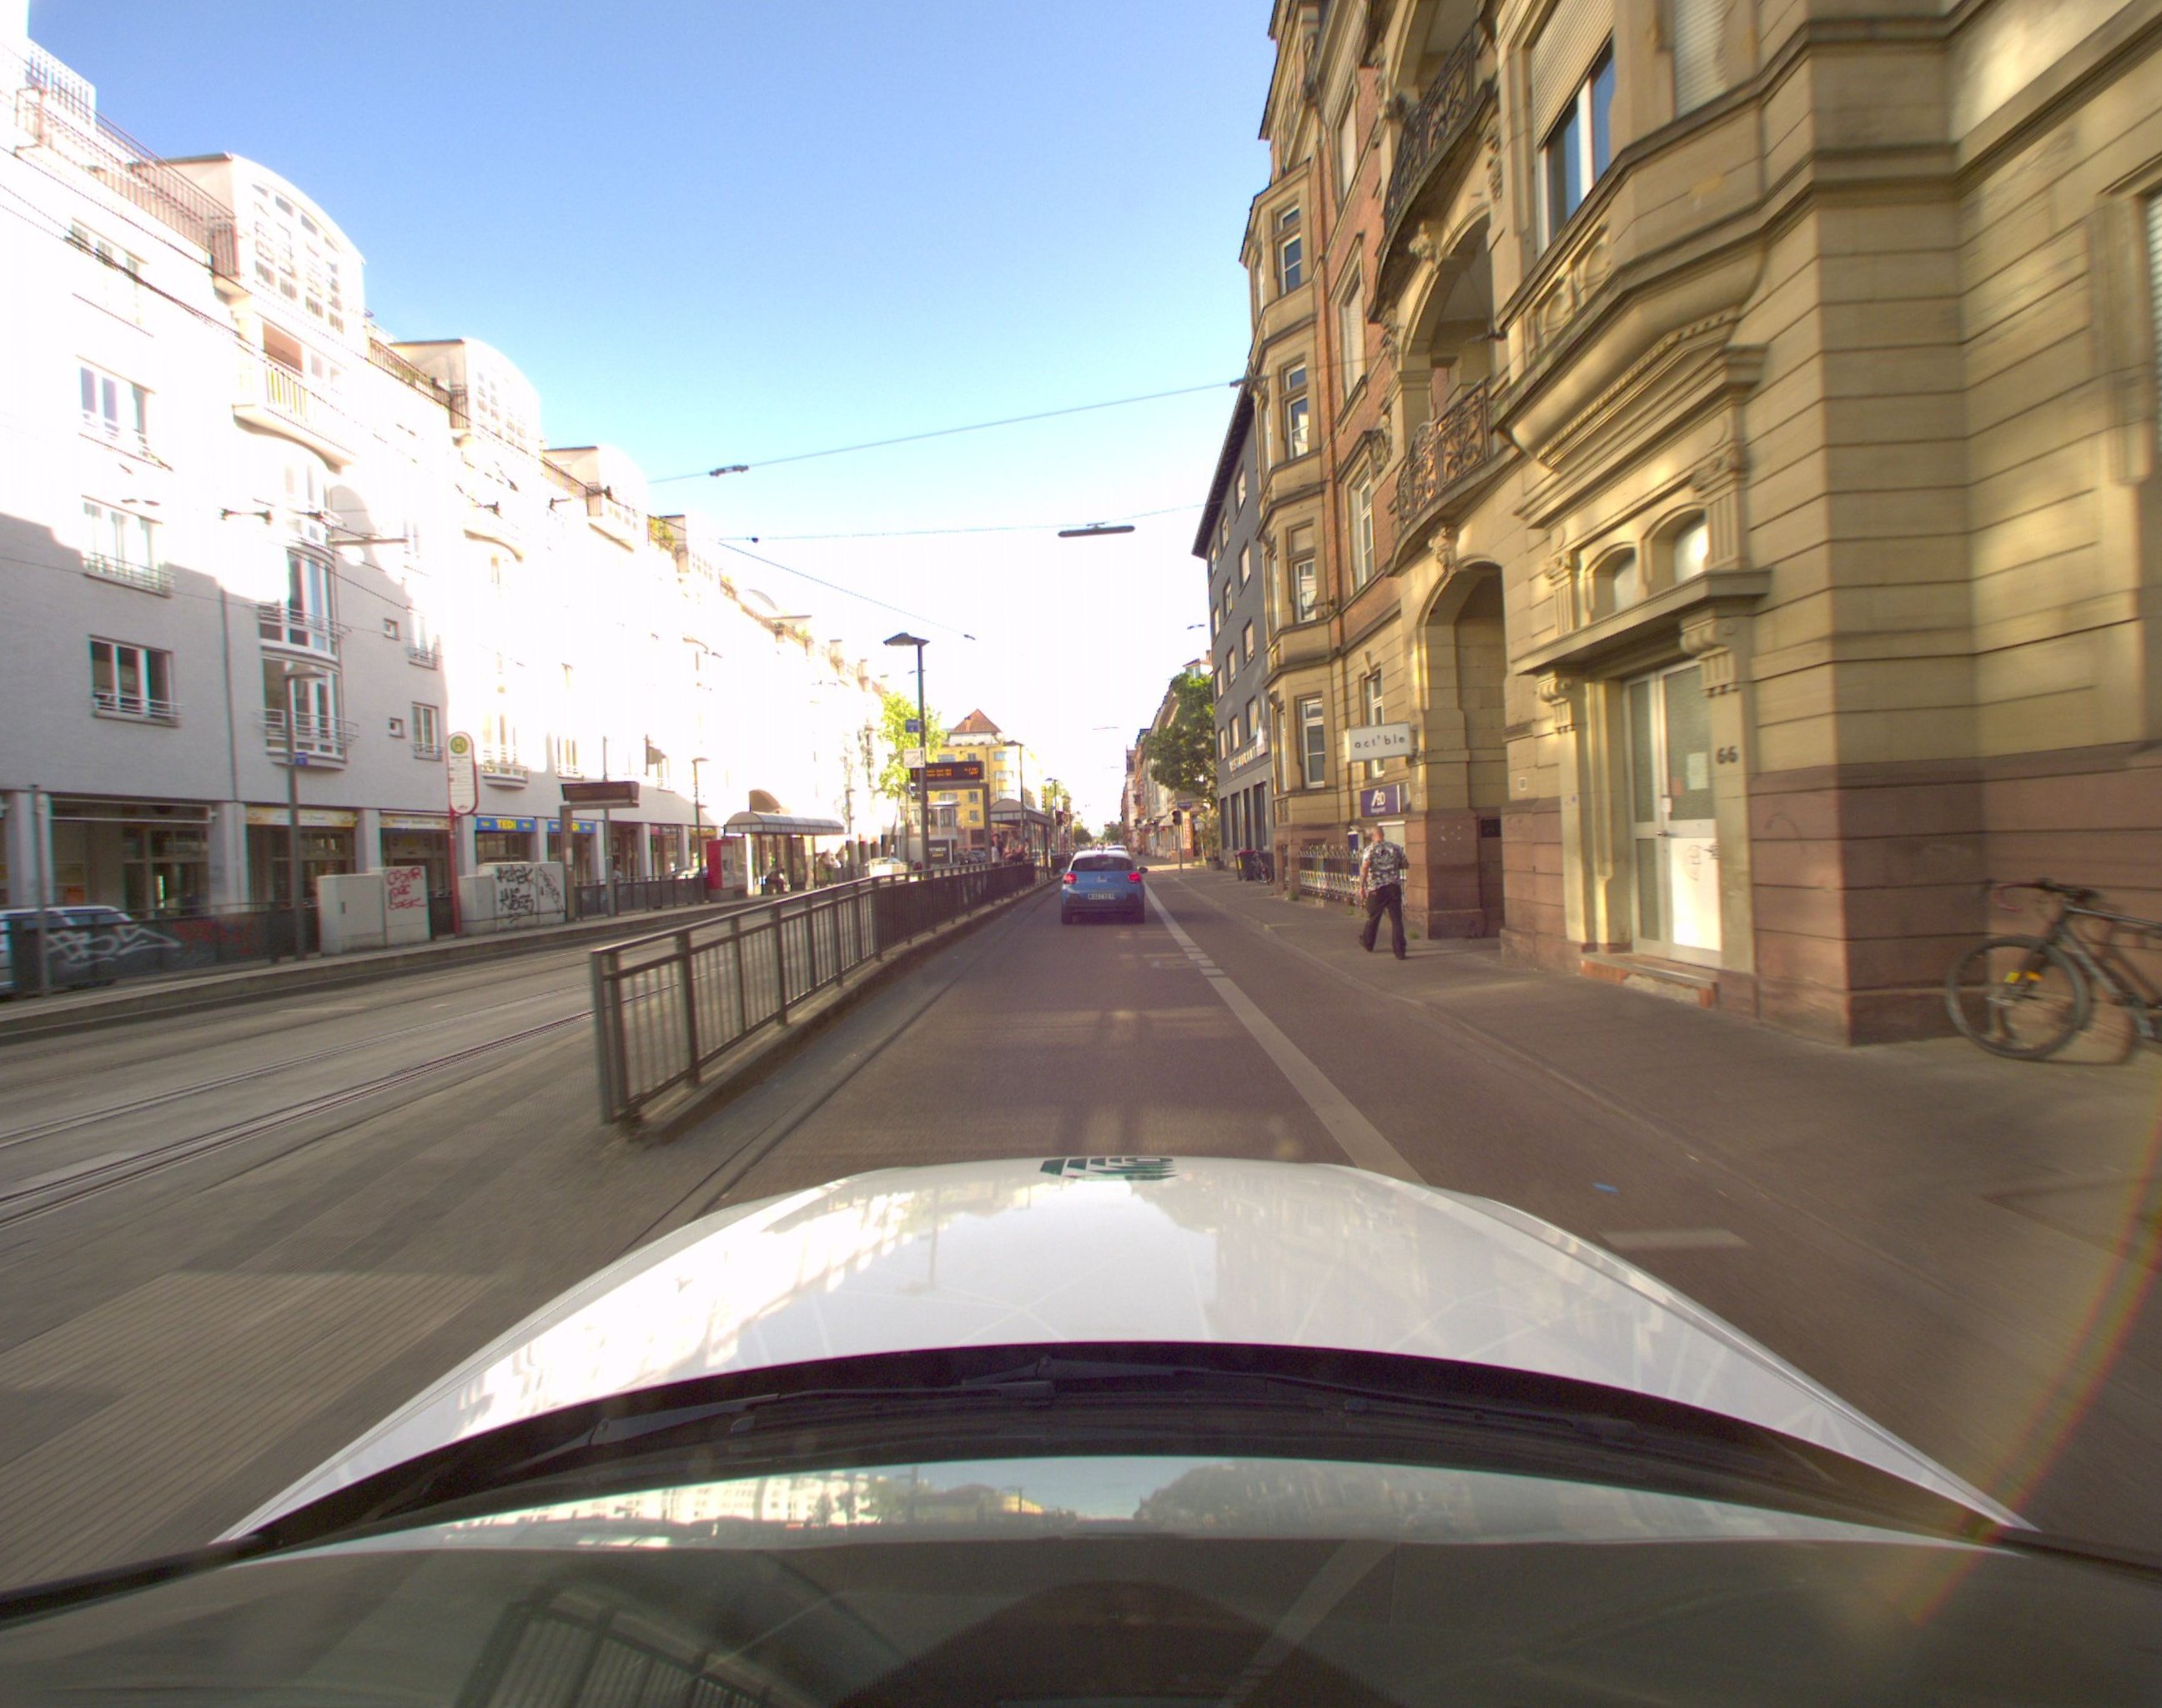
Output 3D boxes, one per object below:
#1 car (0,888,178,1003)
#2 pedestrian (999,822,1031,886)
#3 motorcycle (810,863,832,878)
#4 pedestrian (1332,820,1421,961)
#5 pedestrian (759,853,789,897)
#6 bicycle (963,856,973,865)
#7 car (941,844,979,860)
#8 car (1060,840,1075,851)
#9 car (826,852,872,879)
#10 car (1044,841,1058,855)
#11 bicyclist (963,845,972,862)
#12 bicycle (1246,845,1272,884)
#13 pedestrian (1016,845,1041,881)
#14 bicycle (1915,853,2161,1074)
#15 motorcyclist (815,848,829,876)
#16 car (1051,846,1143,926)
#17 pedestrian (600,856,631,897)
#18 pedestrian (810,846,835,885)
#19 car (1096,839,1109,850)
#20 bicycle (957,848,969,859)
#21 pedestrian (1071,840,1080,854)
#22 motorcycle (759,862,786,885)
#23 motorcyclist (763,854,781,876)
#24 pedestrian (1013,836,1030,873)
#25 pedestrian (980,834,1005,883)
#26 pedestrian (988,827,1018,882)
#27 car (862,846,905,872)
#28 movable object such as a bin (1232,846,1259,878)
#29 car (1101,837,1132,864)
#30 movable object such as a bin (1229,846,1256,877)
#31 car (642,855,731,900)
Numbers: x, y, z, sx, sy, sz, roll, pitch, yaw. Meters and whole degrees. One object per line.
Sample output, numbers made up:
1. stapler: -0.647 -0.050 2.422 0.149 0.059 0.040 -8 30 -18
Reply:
1. car: -16.789 1.454 12.084 1.722 1.514 4.406 -2 2 1
2. pedestrian: -1.769 -0.003 21.904 0.632 1.697 0.936 0 1 9
3. motorcycle: -14.287 0.907 44.805 0.491 0.720 2.008 0 1 3
4. pedestrian: 3.899 0.443 10.833 0.777 1.749 1.093 -2 3 -1
5. pedestrian: -11.162 0.765 29.593 0.729 1.527 0.743 -2 3 0
6. bicycle: -10.968 0.600 79.022 0.564 0.757 1.939 -2 2 3
7. car: -13.860 -0.205 93.590 3.976 1.674 1.957 -2 2 -2
8. car: -2.105 -1.307 126.247 1.942 1.485 4.006 -3 2 5
9. car: -14.649 0.714 51.658 1.684 1.420 3.649 -1 3 3
10. car: -4.093 -0.839 111.219 1.747 1.615 4.827 -4 2 0
11. bicyclist: -10.985 -0.047 78.998 0.669 1.557 0.778 -2 2 3
12. bicycle: 5.652 0.321 25.914 0.457 1.122 1.774 -3 2 2
13. pedestrian: -1.947 0.336 30.253 0.761 1.272 0.720 -2 2 4
14. bicycle: 5.373 0.535 4.261 0.254 1.052 1.770 0 1 2
15. motorcyclist: -14.290 0.430 44.877 0.485 1.502 0.723 0 1 3
16. car: 0.384 0.598 17.569 1.774 1.450 3.657 0 2 2
17. pedestrian: -19.542 0.936 34.192 0.840 1.621 0.597 -2 2 -3
18. pedestrian: -10.704 0.478 33.732 0.729 1.558 0.743 -2 3 0
19. car: 3.450 -1.519 131.558 1.986 1.742 4.002 0 1 2
20. bicycle: -12.385 -0.046 85.459 0.677 1.002 2.689 -2 2 3
21. pedestrian: -0.684 -0.838 96.811 0.842 1.653 0.691 -3 2 -26
22. motorcycle: -15.667 0.964 41.376 0.556 1.074 1.846 0 1 3
23. motorcyclist: -15.699 0.544 41.434 0.556 1.074 0.828 0 1 3
24. pedestrian: -2.539 0.018 34.798 0.619 1.558 0.568 -2 2 2
25. pedestrian: -2.895 0.150 26.555 0.579 1.561 0.473 -1 2 37
26. pedestrian: -2.603 0.008 27.127 0.710 1.777 0.569 -1 2 37
27. car: -12.656 0.319 52.429 1.684 1.420 3.649 -1 3 3
28. movable object such as a bin: 5.800 0.278 28.727 0.745 1.036 0.754 -5 2 2
29. car: 2.360 -0.258 54.118 1.986 1.742 4.002 0 1 2
30. movable object such as a bin: 5.837 0.254 29.486 0.745 1.036 0.754 -5 2 2
31. car: -16.020 0.925 33.280 1.684 1.509 3.649 -1 3 3
